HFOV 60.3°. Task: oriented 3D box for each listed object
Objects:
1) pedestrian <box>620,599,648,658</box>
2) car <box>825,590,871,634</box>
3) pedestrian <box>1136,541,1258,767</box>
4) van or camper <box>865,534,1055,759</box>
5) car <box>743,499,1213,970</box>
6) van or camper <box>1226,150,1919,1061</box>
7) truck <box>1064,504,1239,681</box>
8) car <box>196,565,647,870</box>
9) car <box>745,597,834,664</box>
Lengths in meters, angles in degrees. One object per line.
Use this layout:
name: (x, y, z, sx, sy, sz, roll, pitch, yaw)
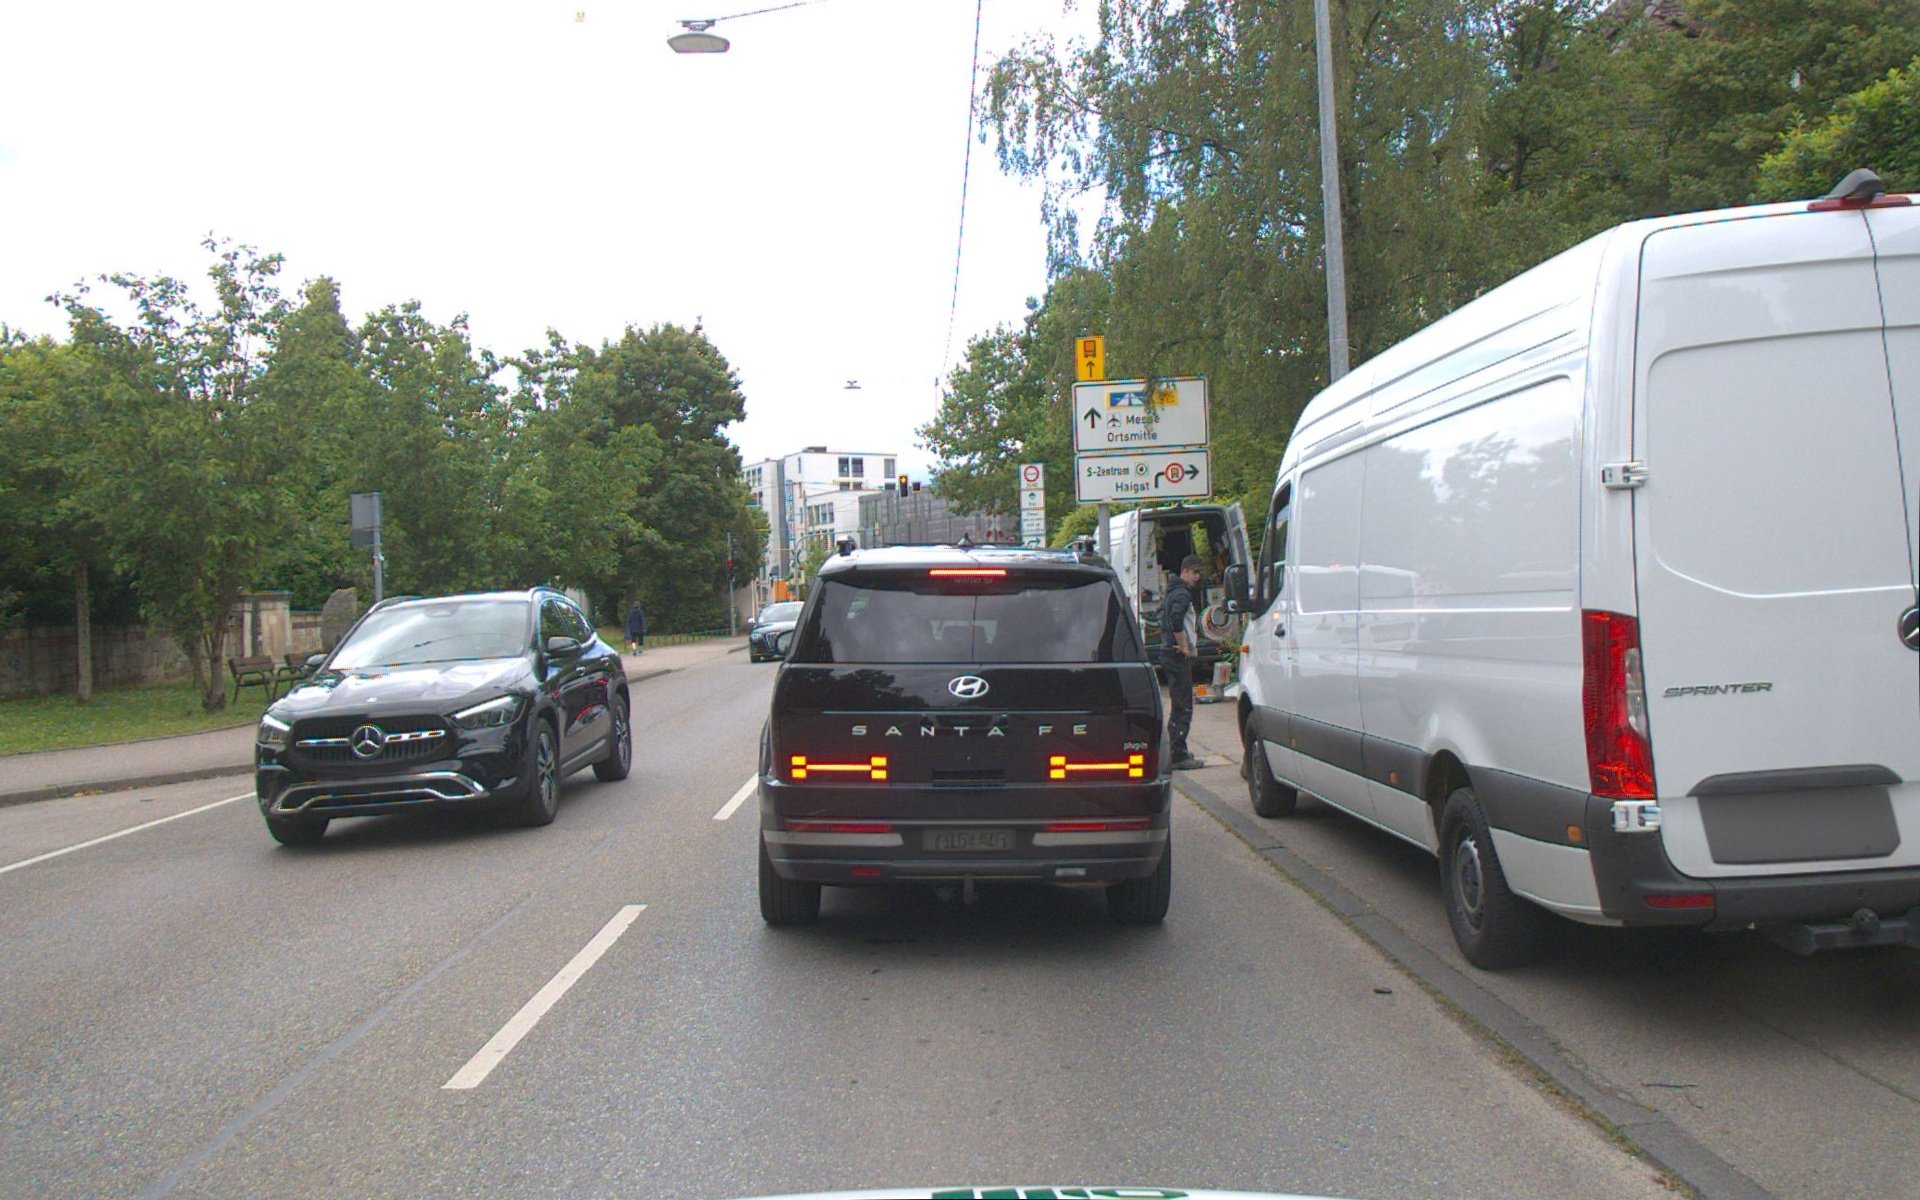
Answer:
pedestrian: (-9.827, 0.840, 49.857, 0.724, 1.745, 0.791, -2, 0, -8)
car: (-4.634, 0.489, 68.829, 1.749, 1.682, 4.118, -3, 0, -2)
pedestrian: (1.986, 0.441, 13.952, 0.852, 1.828, 0.759, -2, 0, -2)
van or camper: (-0.025, 0.427, 17.477, 1.719, 2.049, 3.999, -2, 0, -1)
car: (0.045, 0.520, 8.534, 1.851, 1.851, 3.999, 0, 0, -1)
van or camper: (2.897, -0.014, 8.173, 1.953, 2.665, 6.540, -2, 0, -1)
truck: (3.109, -0.103, 28.058, 1.904, 2.606, 5.212, -3, 0, -4)
car: (-3.625, 0.694, 12.046, 1.822, 1.686, 4.305, -4, 0, -1)
car: (-4.290, 0.730, 42.169, 1.822, 1.478, 4.110, -4, 0, -1)
